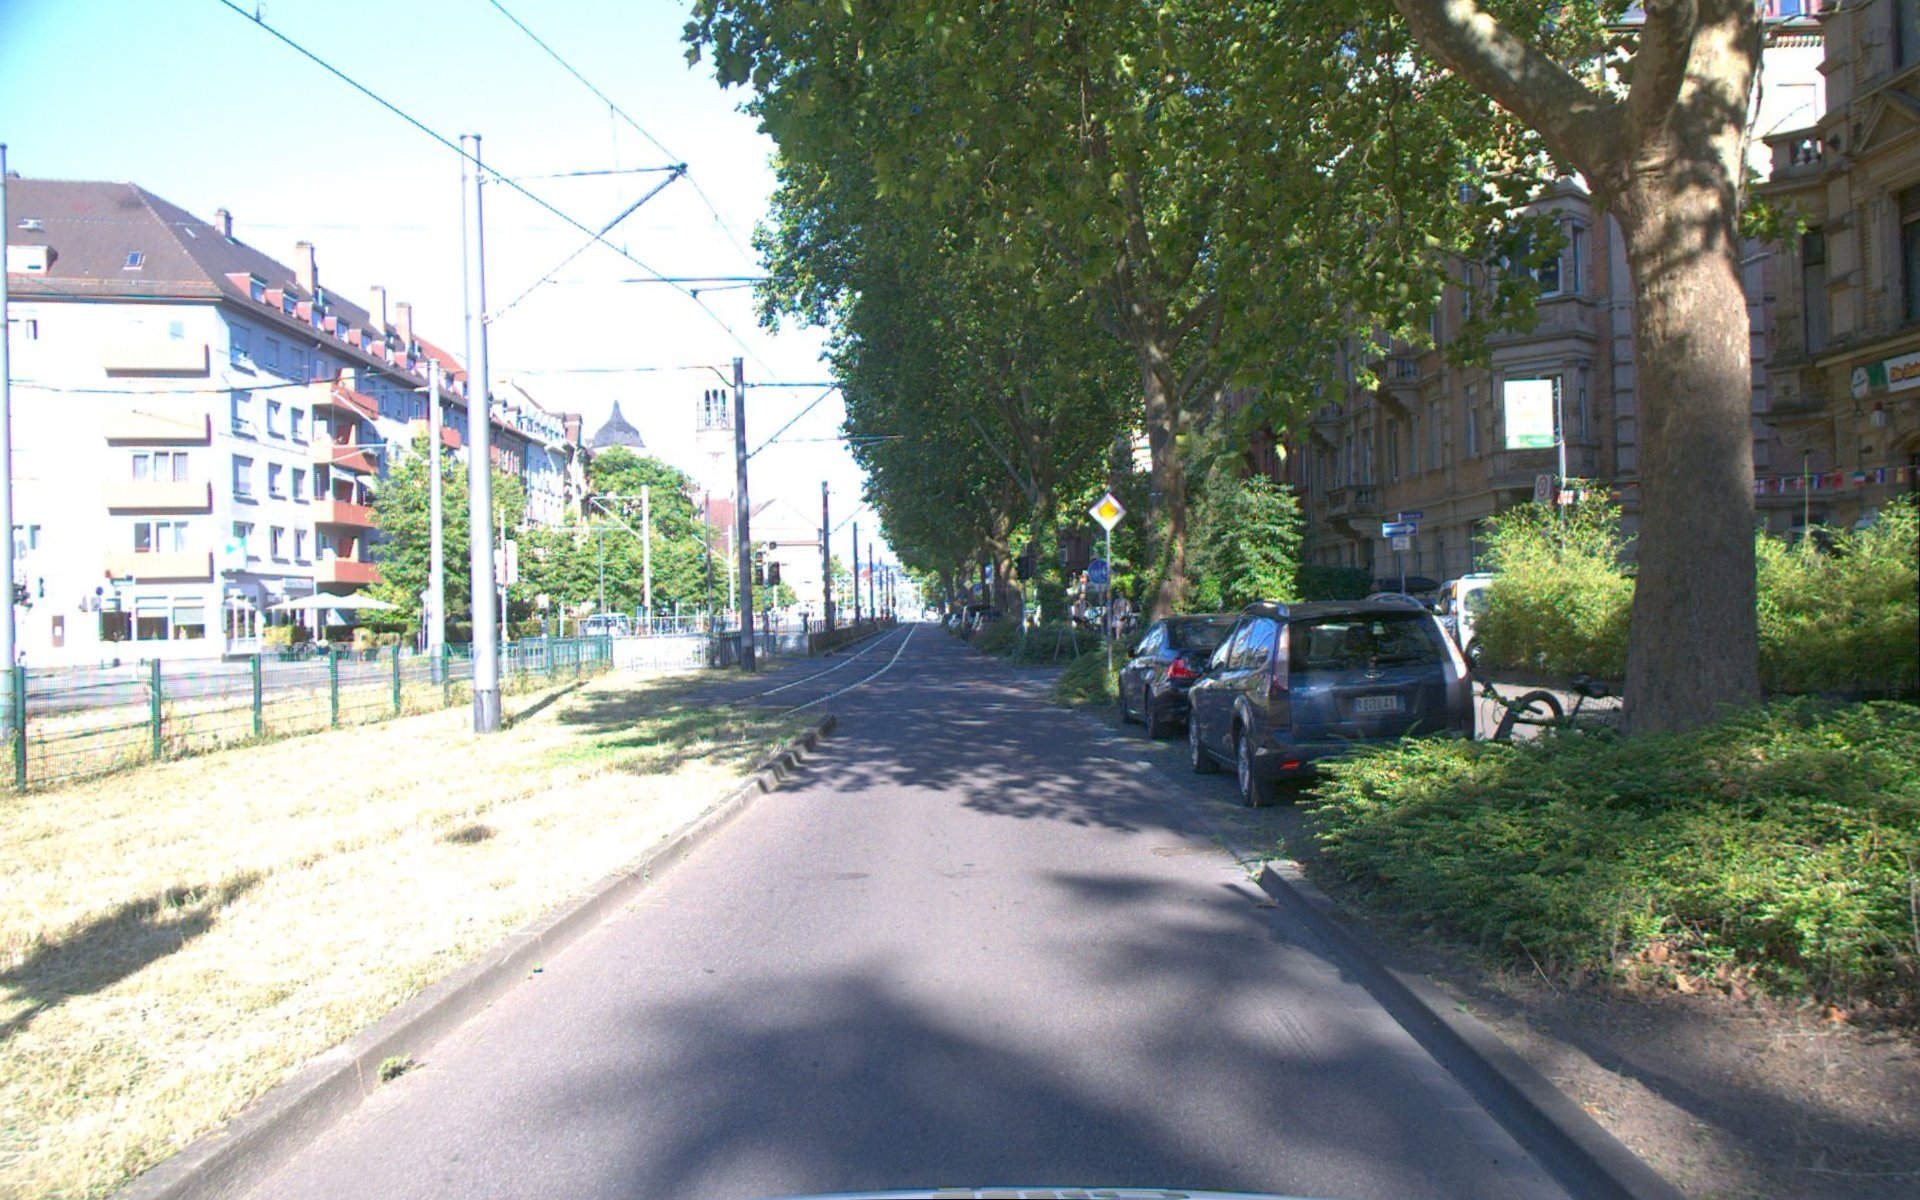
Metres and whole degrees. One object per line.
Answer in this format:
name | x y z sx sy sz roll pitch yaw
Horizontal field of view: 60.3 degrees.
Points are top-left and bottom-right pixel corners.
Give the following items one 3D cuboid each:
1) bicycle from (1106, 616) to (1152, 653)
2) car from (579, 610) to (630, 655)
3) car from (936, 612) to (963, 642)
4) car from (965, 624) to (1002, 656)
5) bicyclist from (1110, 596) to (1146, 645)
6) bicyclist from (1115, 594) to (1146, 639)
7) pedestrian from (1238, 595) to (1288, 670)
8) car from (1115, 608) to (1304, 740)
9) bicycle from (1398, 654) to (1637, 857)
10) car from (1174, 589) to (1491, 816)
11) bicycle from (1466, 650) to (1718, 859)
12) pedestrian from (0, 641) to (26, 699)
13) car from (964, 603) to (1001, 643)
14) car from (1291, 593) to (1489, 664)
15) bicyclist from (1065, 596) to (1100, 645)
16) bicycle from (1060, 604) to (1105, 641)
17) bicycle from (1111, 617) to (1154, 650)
bicycle | 5.175 1.038 50.846 0.799 0.973 2.312 -3 2 -10
car | -18.285 1.660 85.288 1.954 2.048 3.997 -2 2 -4
car | -0.788 2.011 123.287 1.953 2.144 3.999 1 -2 -1
car | 1.140 1.994 81.844 1.757 1.537 3.999 1 -2 -1
bicyclist | 5.152 0.626 50.908 0.799 1.429 1.078 -2 2 -10
bicyclist | 5.701 0.534 55.236 0.799 1.429 0.823 -2 2 -10
pedestrian | 7.308 0.763 39.931 0.799 1.719 1.078 -2 2 -10
car | 2.960 0.835 20.415 1.610 1.397 4.182 -2 0 -1
bicycle | 3.507 0.935 10.349 1.580 1.060 0.504 -3 2 -31
car | 2.910 0.735 13.801 1.610 1.538 4.182 -2 0 -1
bicycle | 3.788 0.882 9.876 1.580 1.043 0.536 -3 2 -31
pedestrian | -25.435 1.871 44.091 0.674 1.493 0.591 -2 2 2
car | 1.221 1.288 90.808 1.953 2.144 3.999 1 -2 -1
car | 9.839 0.639 37.902 3.923 1.445 1.991 -2 -1 -17
bicyclist | 3.725 0.617 50.426 0.799 1.429 1.078 -2 2 -10
bicycle | 3.722 0.678 50.435 0.799 0.973 2.312 -3 2 -10
bicycle | 5.743 1.111 55.303 0.799 0.973 2.312 -3 2 -10
